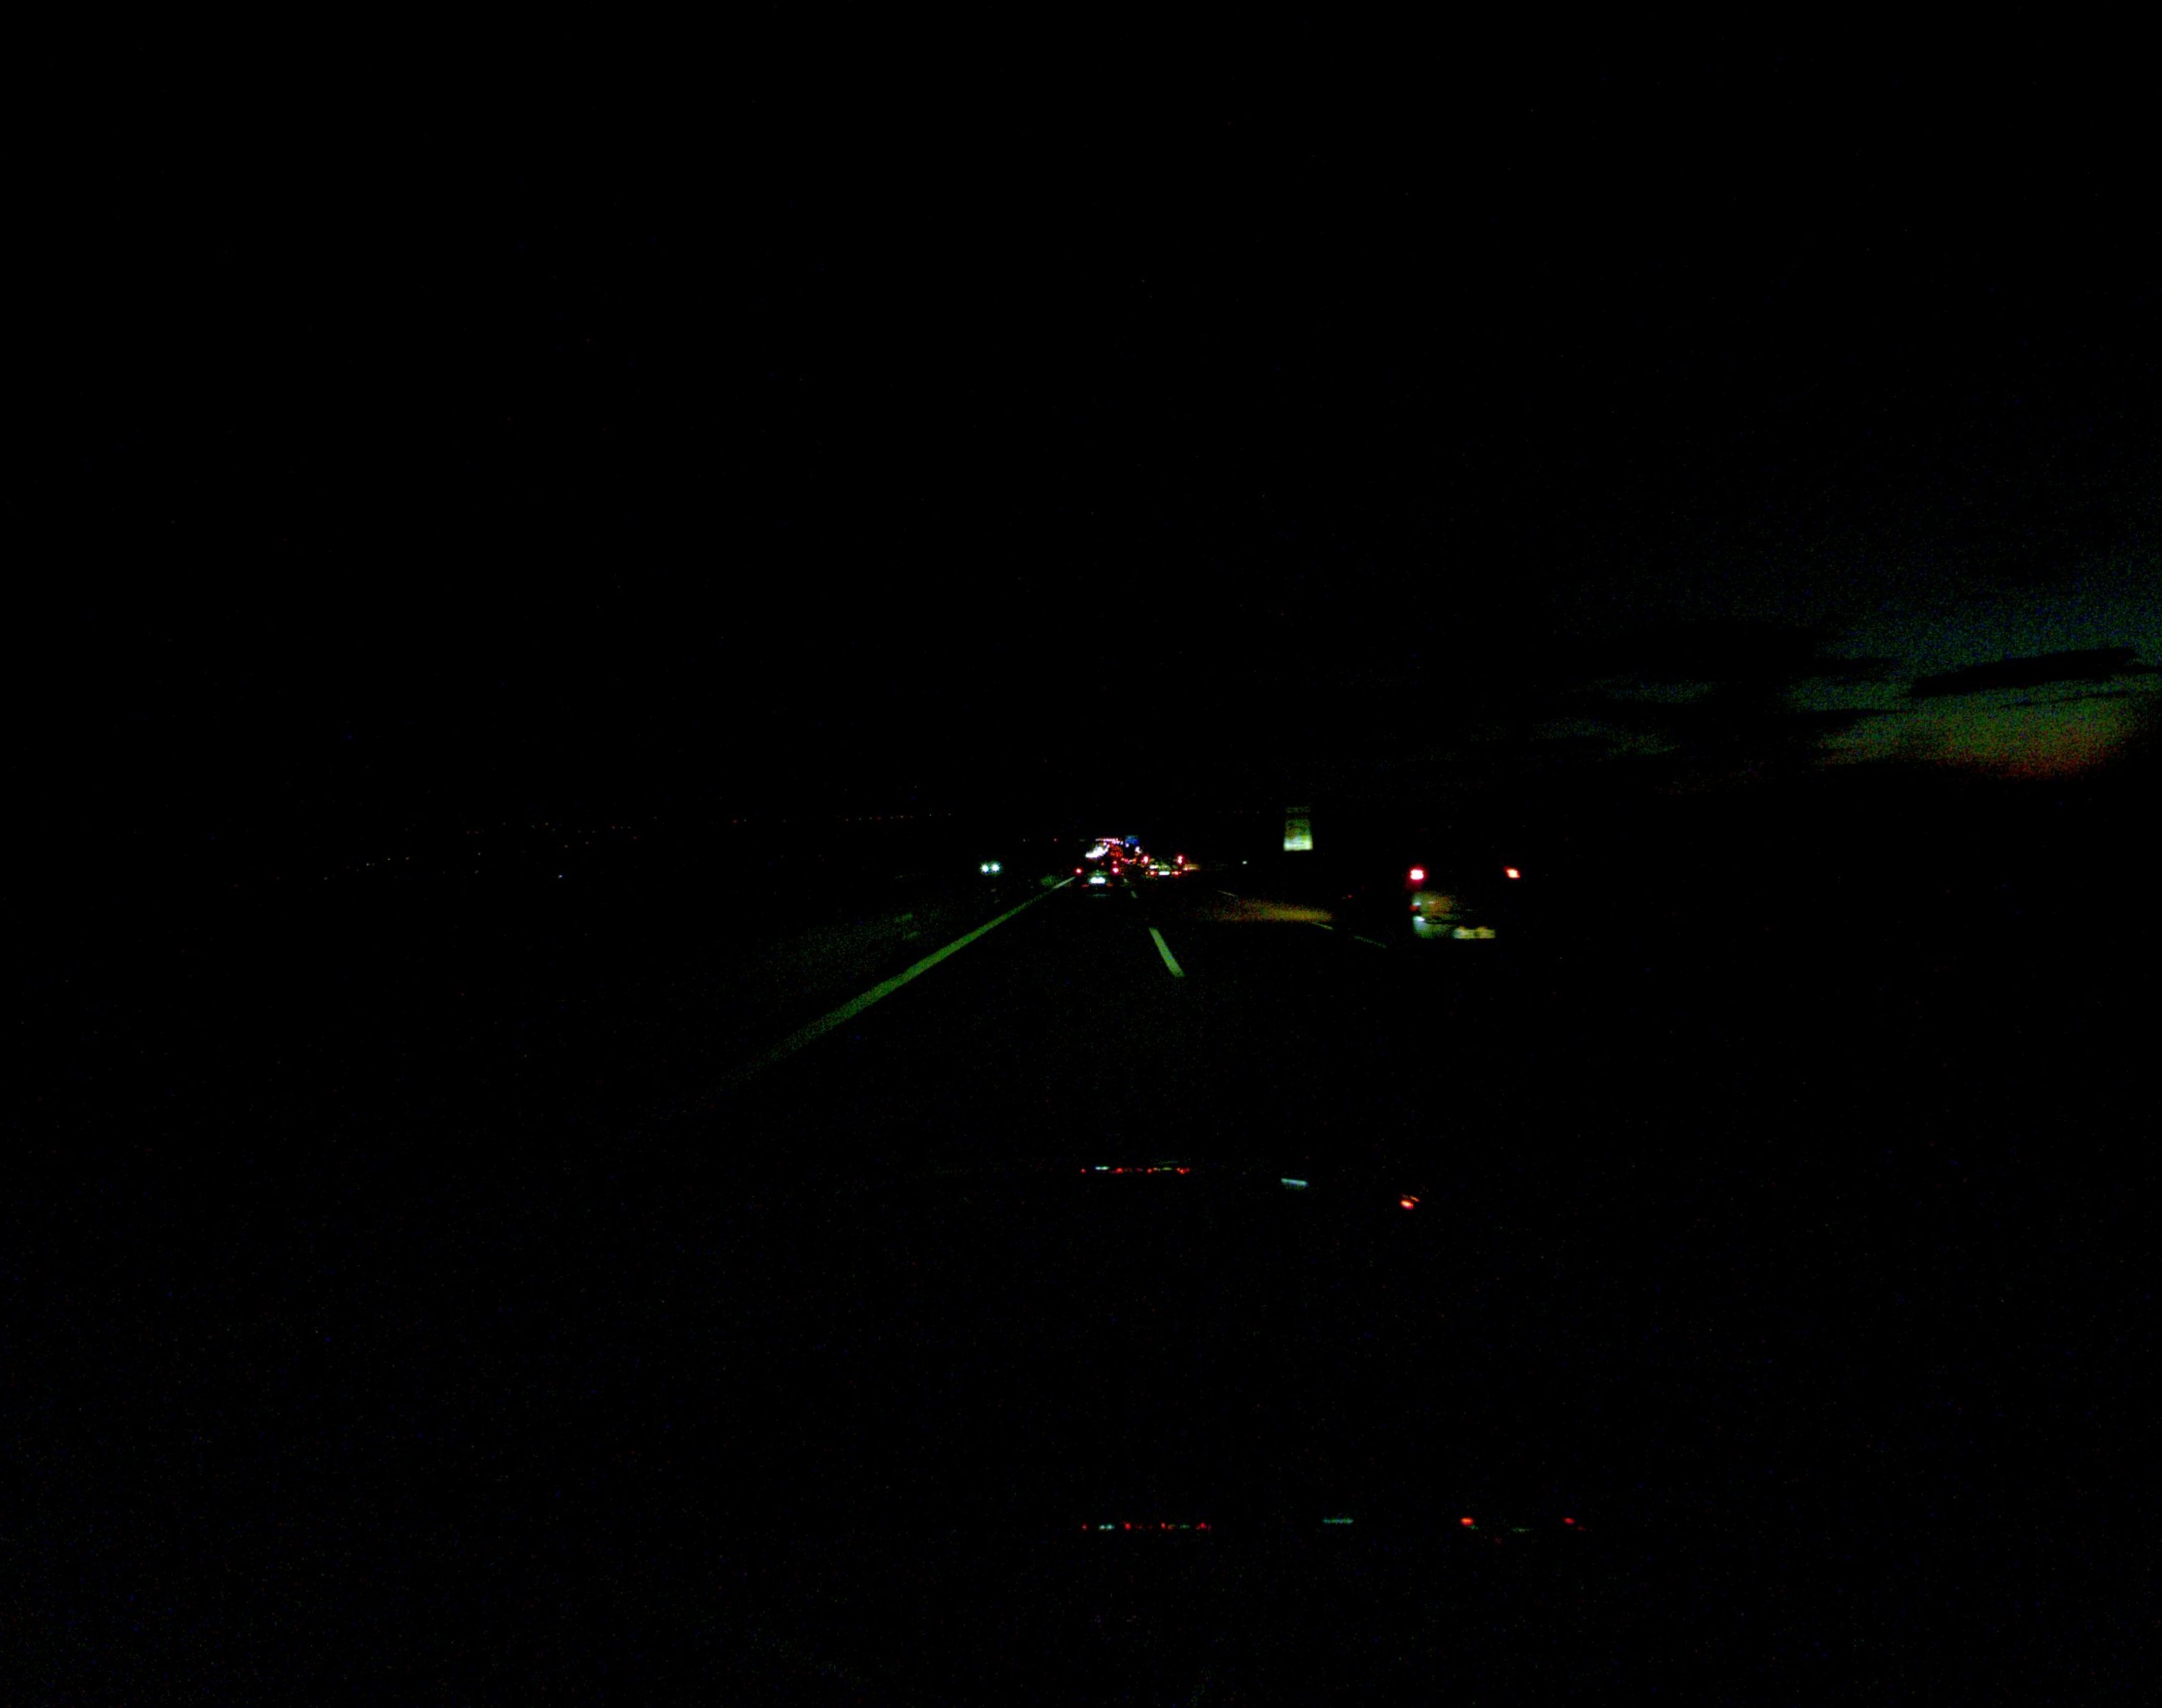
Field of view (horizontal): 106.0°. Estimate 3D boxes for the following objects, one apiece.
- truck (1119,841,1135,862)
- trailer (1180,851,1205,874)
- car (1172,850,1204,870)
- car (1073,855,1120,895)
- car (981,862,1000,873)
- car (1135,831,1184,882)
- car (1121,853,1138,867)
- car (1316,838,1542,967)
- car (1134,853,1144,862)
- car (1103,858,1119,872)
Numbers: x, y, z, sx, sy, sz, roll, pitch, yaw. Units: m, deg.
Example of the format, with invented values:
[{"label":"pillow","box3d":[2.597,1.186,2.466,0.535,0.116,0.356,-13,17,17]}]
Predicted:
[{"label":"truck","box3d":[8.910,-0.396,158.563,2.771,3.955,7.994,-2,0,1]},{"label":"trailer","box3d":[8.556,0.662,62.713,1.560,1.693,2.822,-2,0,2]},{"label":"car","box3d":[8.672,0.473,66.381,2.154,1.563,4.726,-1,0,2]},{"label":"car","box3d":[0.681,0.803,33.201,1.786,1.469,3.775,-1,0,2]},{"label":"car","box3d":[-12.545,1.844,112.969,1.987,1.419,4.983,-4,0,0]},{"label":"car","box3d":[4.289,0.123,45.206,2.342,2.535,5.704,-2,0,2]},{"label":"car","box3d":[7.308,0.930,122.541,2.342,1.914,4.726,-2,0,2]},{"label":"car","box3d":[5.041,0.623,12.537,1.640,1.596,4.511,-1,0,2]},{"label":"car","box3d":[14.063,0.899,198.481,2.342,2.076,4.726,-2,0,2]},{"label":"car","box3d":[3.416,1.252,91.641,1.738,1.440,4.370,-2,0,2]}]
